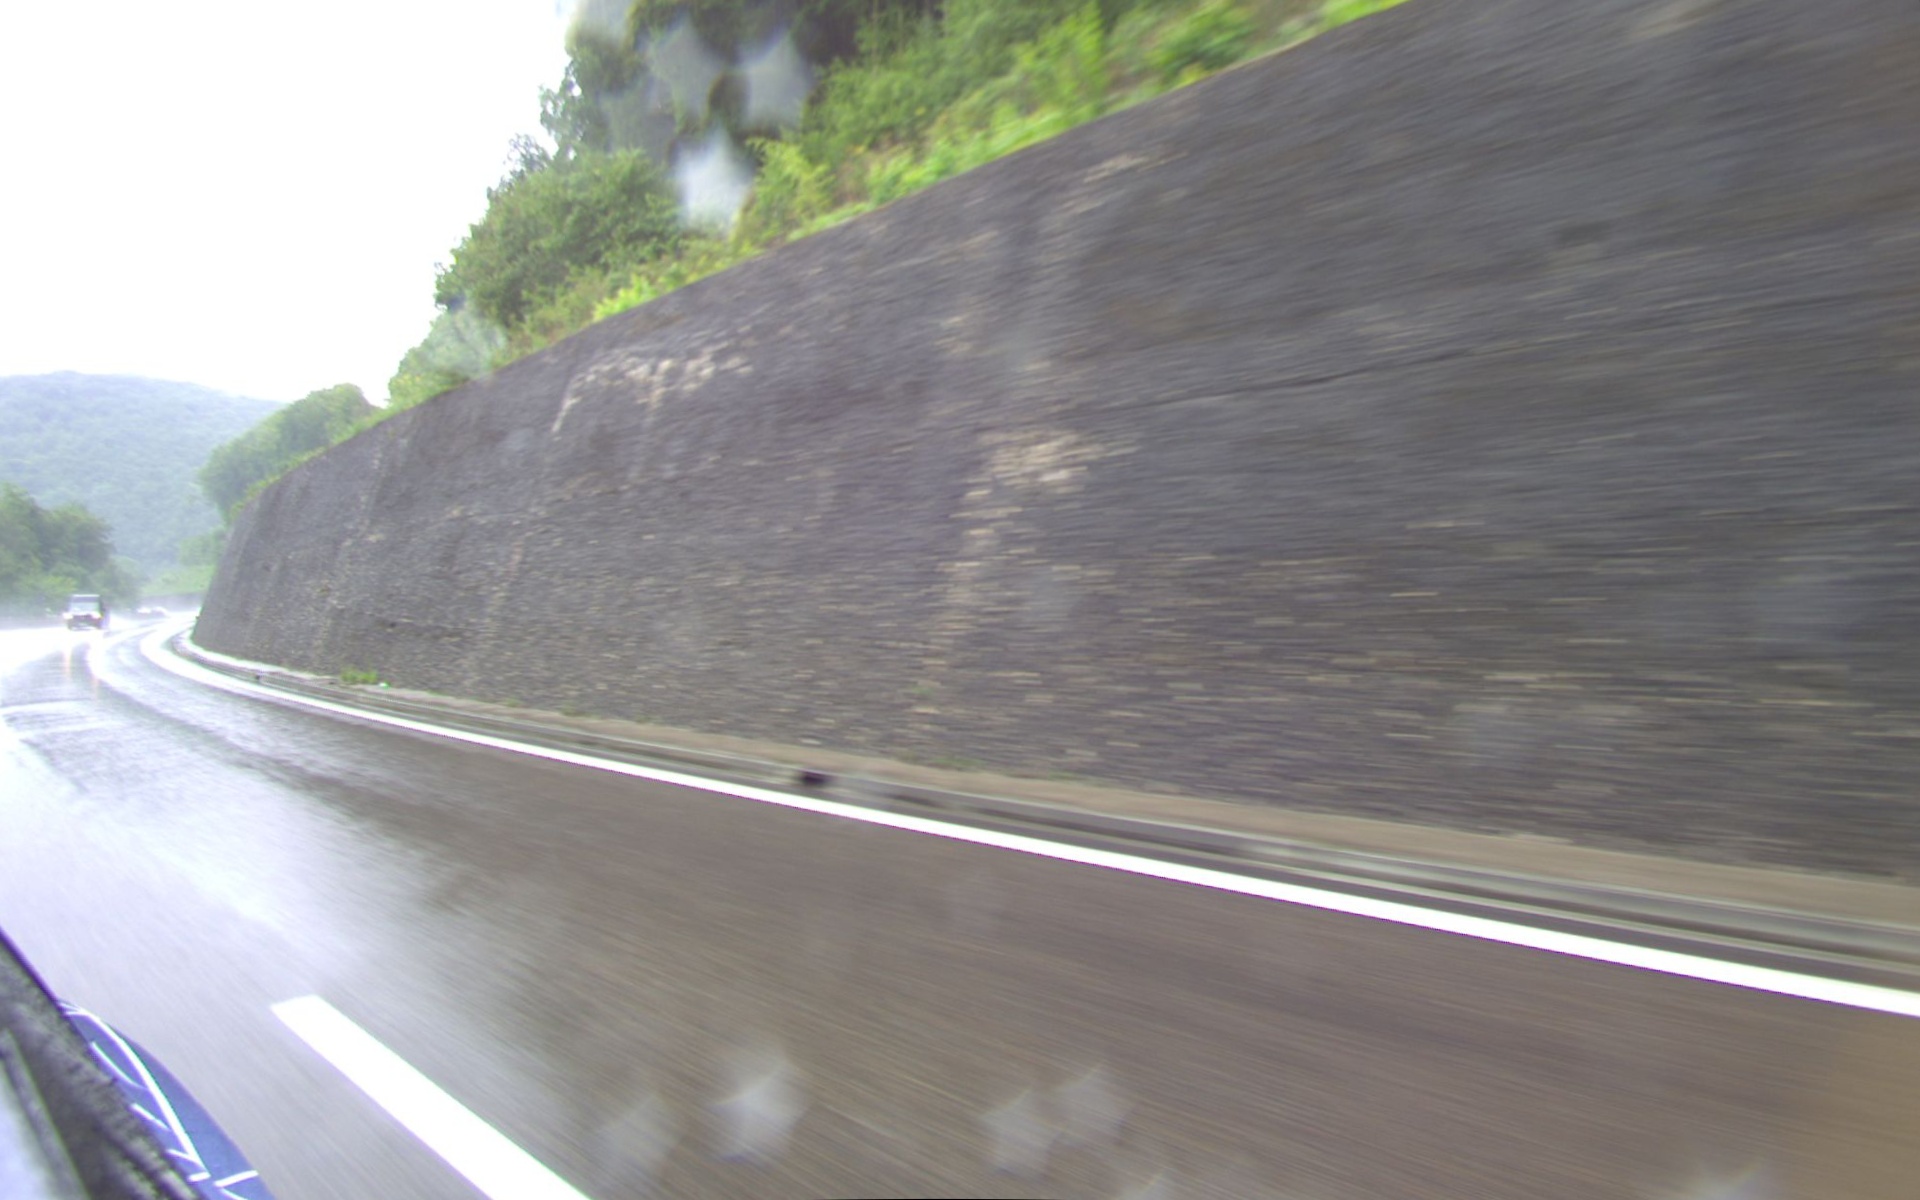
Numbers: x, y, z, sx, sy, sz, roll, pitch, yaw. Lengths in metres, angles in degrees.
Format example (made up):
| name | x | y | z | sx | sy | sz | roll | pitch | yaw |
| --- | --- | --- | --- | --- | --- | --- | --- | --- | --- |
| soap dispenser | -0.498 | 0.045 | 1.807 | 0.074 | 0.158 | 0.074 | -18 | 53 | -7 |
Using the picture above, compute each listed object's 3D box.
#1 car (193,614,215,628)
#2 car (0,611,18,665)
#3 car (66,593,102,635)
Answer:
| name | x | y | z | sx | sy | sz | roll | pitch | yaw |
| --- | --- | --- | --- | --- | --- | --- | --- | --- | --- |
| car | -90.977 | 2.493 | 121.797 | 1.709 | 1.678 | 3.878 | 0 | -1 | -31 |
| car | -28.507 | 1.098 | 28.324 | 2.322 | 1.570 | 5.513 | 0 | 0 | -34 |
| car | -65.616 | 1.027 | 75.834 | 1.714 | 3.048 | 4.009 | 0 | 0 | -36 |
